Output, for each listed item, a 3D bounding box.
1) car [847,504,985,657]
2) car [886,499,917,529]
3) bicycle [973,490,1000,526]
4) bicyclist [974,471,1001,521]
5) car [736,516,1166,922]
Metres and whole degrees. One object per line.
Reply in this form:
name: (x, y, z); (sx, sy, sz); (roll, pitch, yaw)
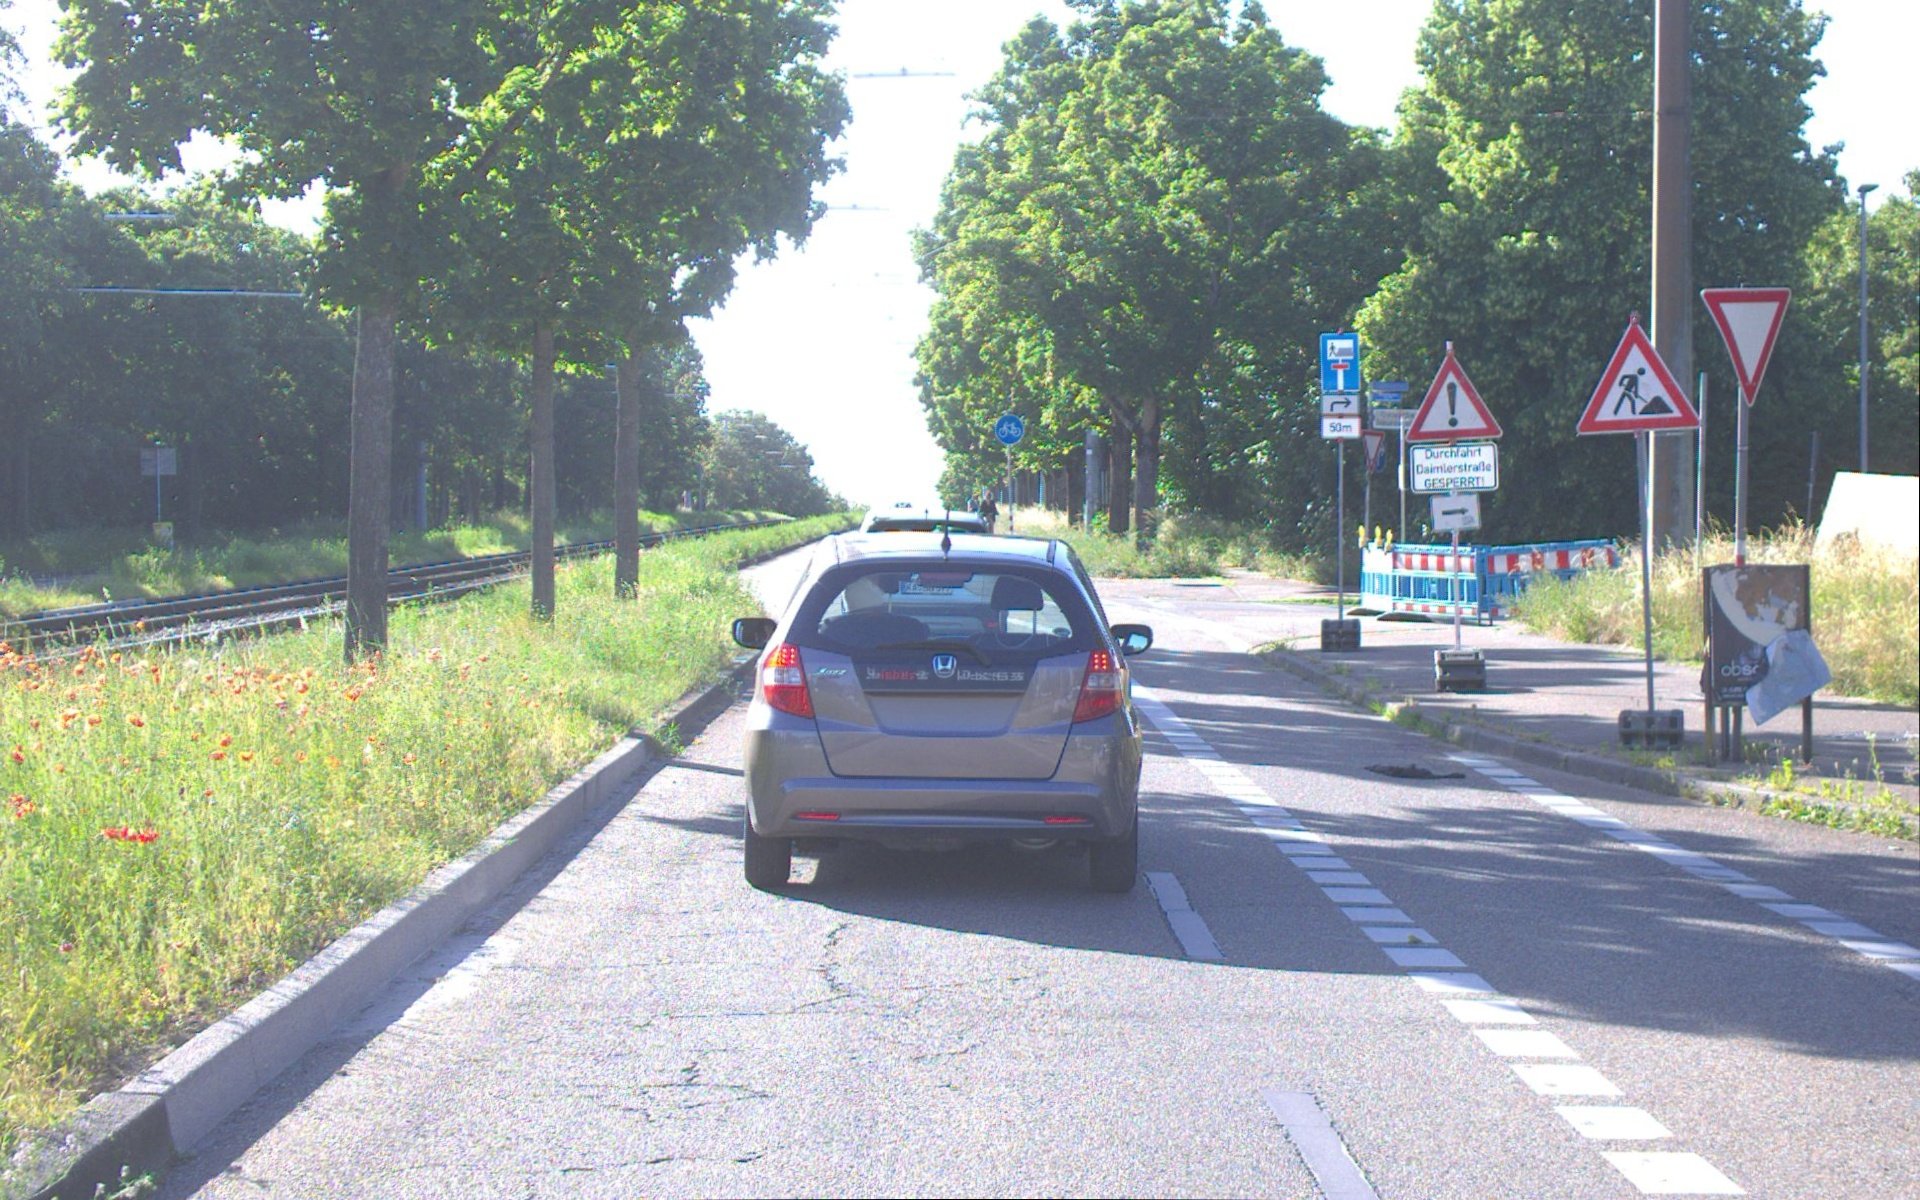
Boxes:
car: (-0.429, -0.211, 35.849); (1.351, 1.522, 3.123); (0, 1, 1)
car: (-4.130, -6.052, 243.221); (1.993, 2.007, 4.000); (-2, 1, 1)
bicycle: (0.837, -2.875, 107.257); (0.818, 1.044, 2.506); (1, 0, 1)
bicyclist: (0.854, -3.237, 107.275); (0.818, 1.519, 0.966); (1, 0, 1)
car: (-0.114, 0.435, 15.614); (1.670, 1.510, 3.674); (2, 2, -2)
